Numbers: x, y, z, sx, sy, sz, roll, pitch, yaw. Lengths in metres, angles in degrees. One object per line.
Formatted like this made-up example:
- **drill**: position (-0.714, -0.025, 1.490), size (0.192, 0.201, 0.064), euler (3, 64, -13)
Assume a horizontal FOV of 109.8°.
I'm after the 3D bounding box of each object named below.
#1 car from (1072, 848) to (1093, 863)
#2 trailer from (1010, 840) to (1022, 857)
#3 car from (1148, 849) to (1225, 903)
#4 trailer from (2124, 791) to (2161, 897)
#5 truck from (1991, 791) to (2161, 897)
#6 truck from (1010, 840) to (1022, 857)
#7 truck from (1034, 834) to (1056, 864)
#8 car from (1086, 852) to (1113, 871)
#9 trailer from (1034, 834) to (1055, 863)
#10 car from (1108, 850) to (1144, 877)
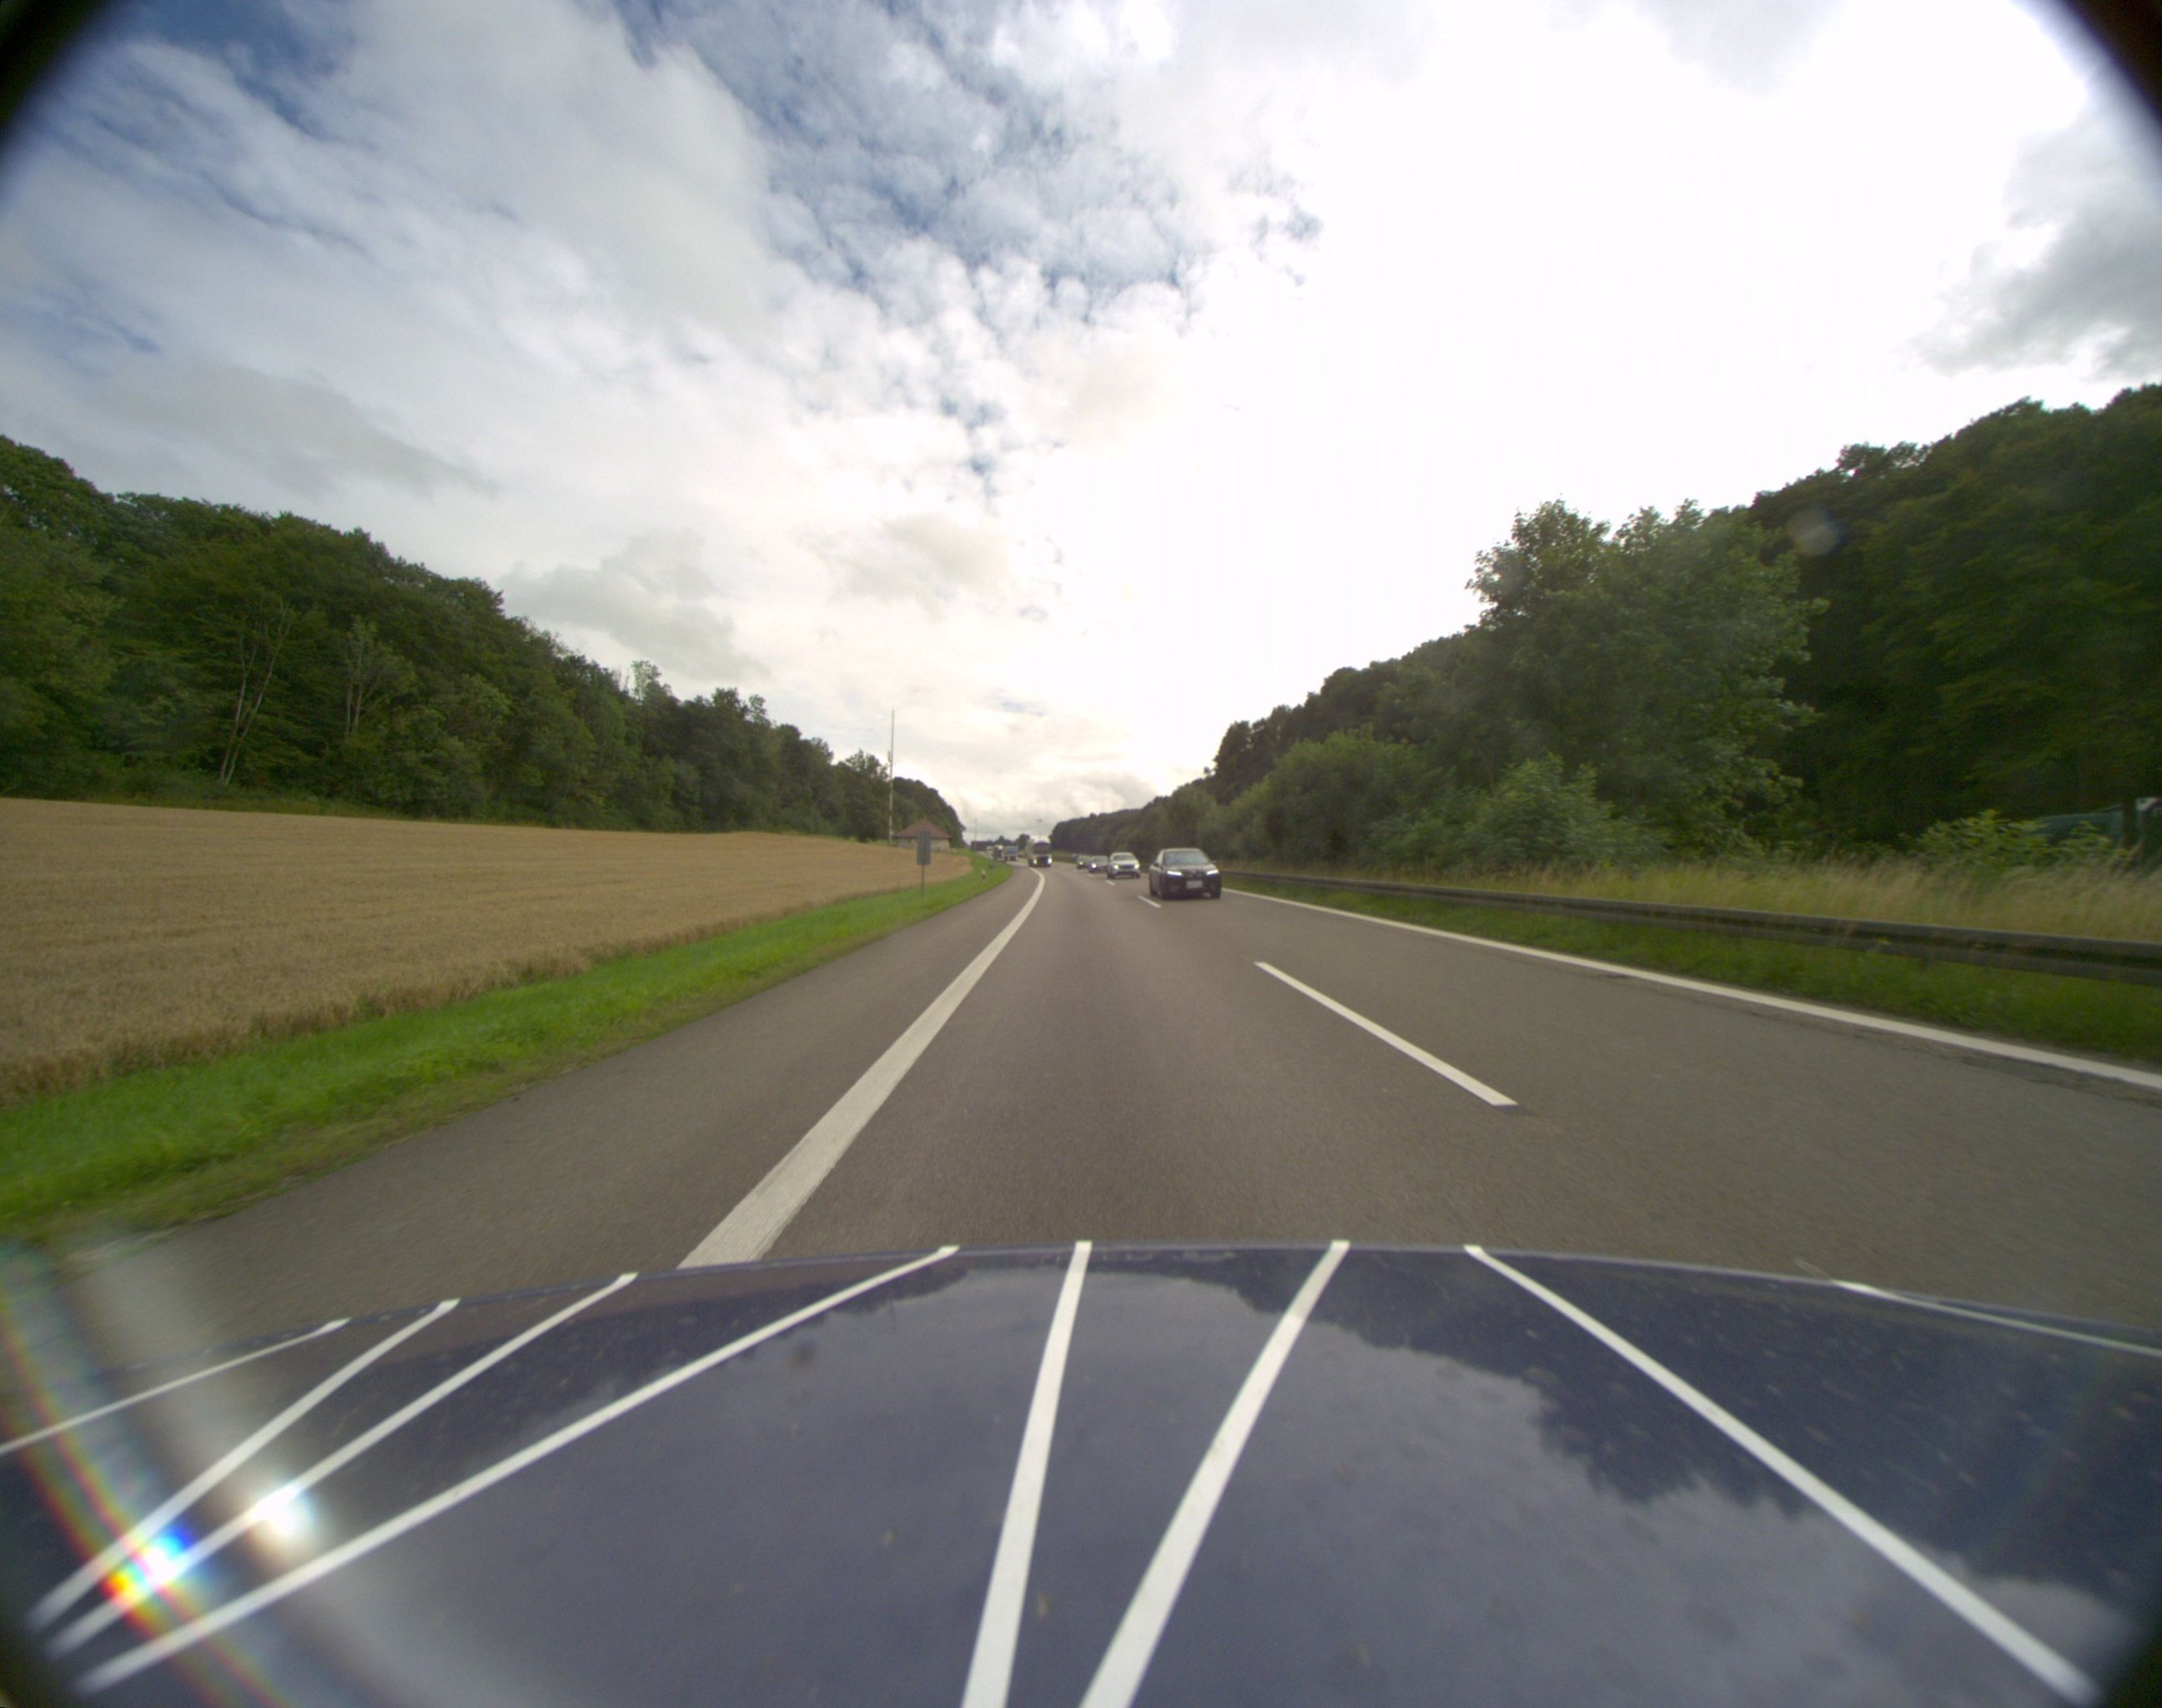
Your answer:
- **car**: position (0.113, 0.189, 89.005), size (1.999, 1.656, 4.412), euler (-2, 1, -5)
- **trailer**: position (-16.279, -1.300, 189.137), size (2.788, 3.932, 11.290), euler (-2, 1, -5)
- **car**: position (3.578, 0.701, 26.514), size (1.999, 1.656, 4.414), euler (-2, 0, 0)
- **trailer**: position (35.602, -0.425, 17.236), size (3.163, 3.201, 13.797), euler (-2, 0, -16)
- **truck**: position (33.749, -0.350, 23.914), size (3.163, 3.201, 5.724), euler (-2, 0, -16)
- **truck**: position (-15.755, -1.284, 183.540), size (2.796, 3.948, 5.937), euler (-2, 1, -5)
- **truck**: position (-5.075, -0.732, 106.237), size (2.796, 3.948, 5.937), euler (-2, 1, -4)
- **car**: position (1.599, 0.643, 68.297), size (1.999, 1.656, 4.413), euler (-2, 0, -3)
- **trailer**: position (-5.431, -0.733, 111.163), size (2.787, 3.932, 11.291), euler (-2, 1, -4)
- **car**: position (2.919, 0.572, 50.175), size (1.999, 1.656, 4.414), euler (-2, 0, -2)
